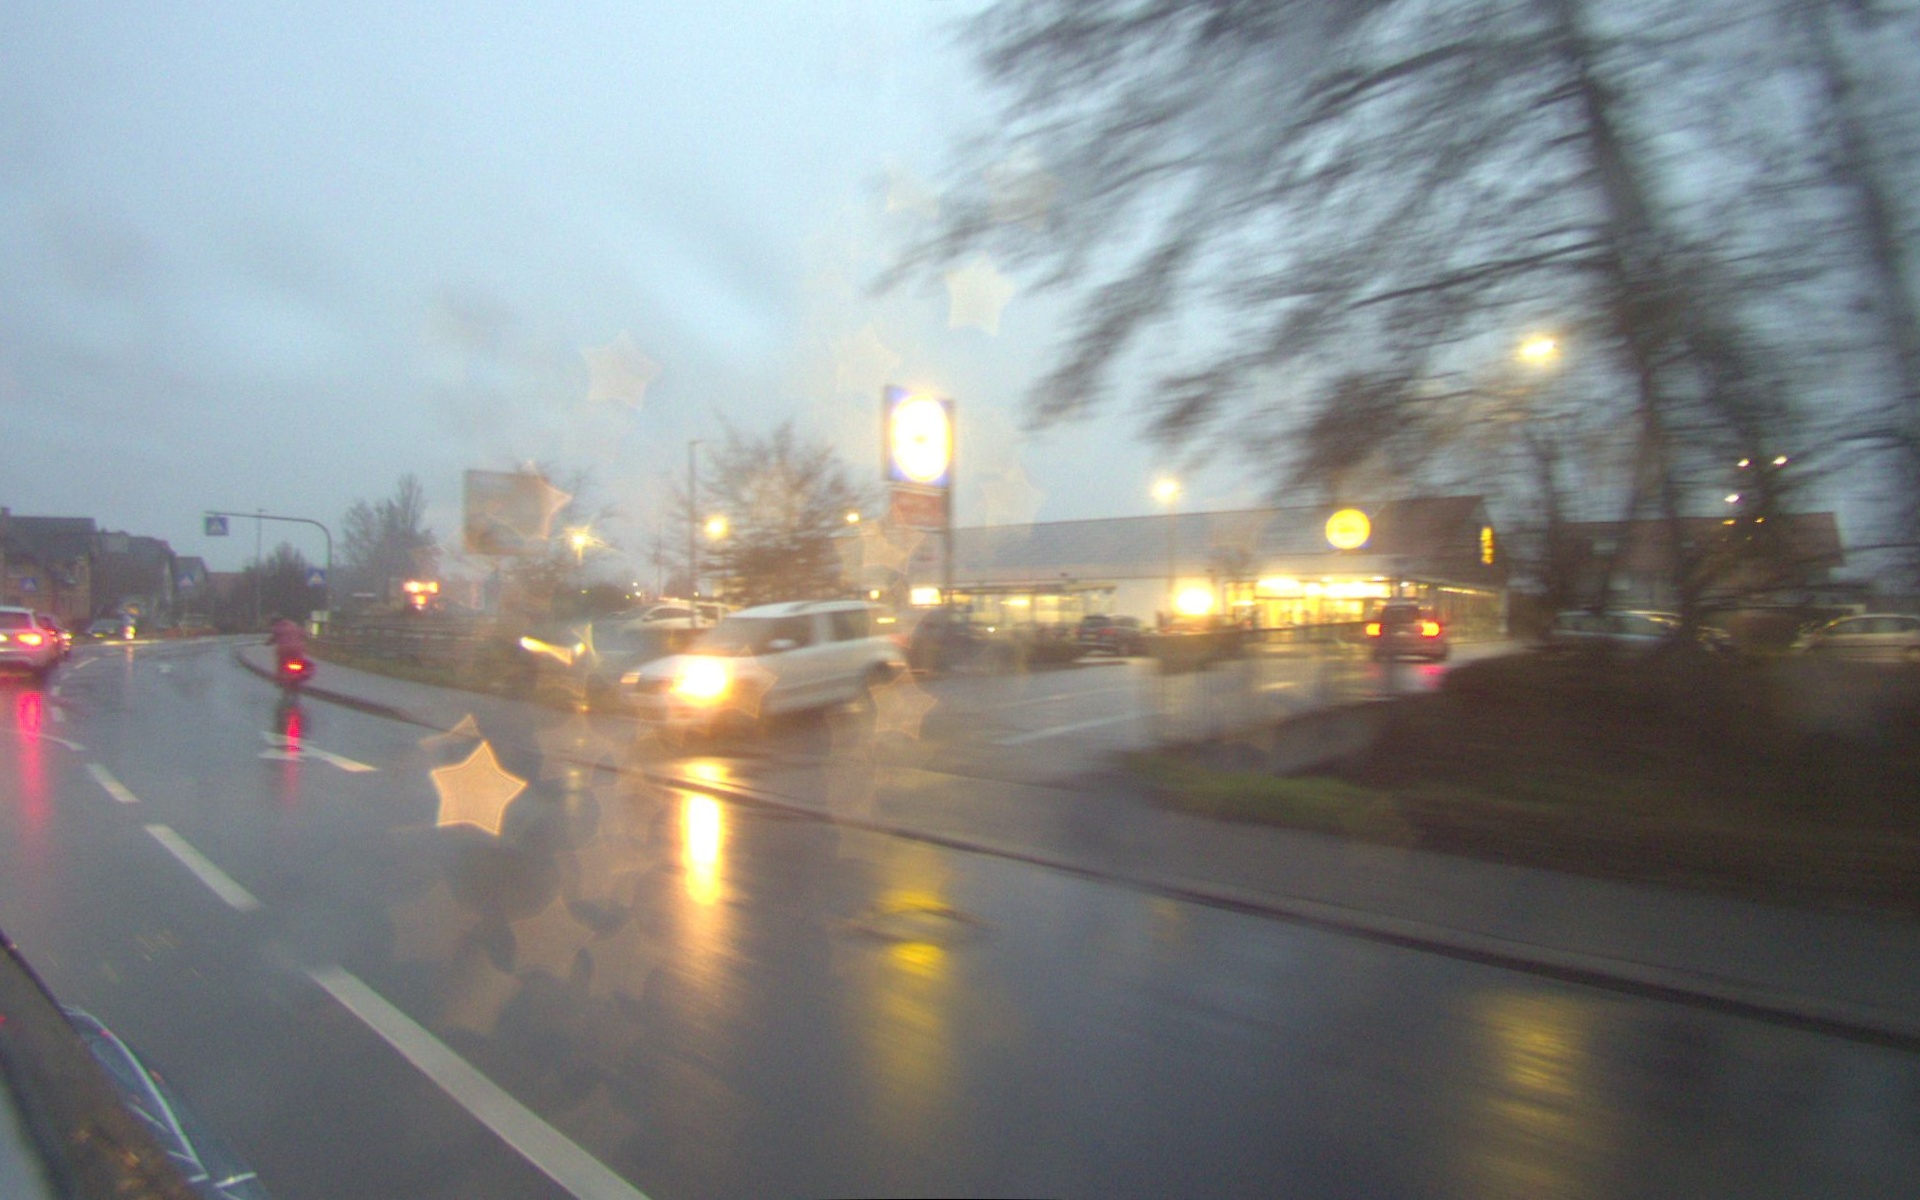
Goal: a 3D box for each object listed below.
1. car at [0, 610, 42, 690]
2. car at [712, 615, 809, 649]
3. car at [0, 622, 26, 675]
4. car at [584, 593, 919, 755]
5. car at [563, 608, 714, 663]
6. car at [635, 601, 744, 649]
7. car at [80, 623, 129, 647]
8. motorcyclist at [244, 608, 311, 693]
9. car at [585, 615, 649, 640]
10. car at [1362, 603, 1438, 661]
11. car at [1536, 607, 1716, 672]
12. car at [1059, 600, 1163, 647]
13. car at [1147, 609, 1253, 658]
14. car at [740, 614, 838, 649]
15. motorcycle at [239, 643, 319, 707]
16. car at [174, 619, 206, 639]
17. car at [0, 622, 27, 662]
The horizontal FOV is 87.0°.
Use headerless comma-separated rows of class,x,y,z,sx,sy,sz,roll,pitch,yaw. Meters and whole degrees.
car,-22.423,1.117,23.371,1.750,1.736,4.426,0,-1,-43
car,-9.547,1.577,48.741,2.050,1.575,4.392,-2,-3,35
car,-29.618,1.436,30.510,1.640,1.497,4.010,0,-1,-35
car,-2.676,0.844,13.806,1.898,1.712,4.185,-1,2,39
car,-10.900,1.174,34.666,2.028,1.725,4.730,-1,-1,34
car,-13.622,1.322,51.331,2.213,2.300,5.141,-2,-3,35
car,-55.125,2.258,65.261,1.747,1.441,3.808,-1,-1,-30
motorcyclist,-12.624,0.908,18.717,0.909,1.496,0.856,-1,0,45
car,-22.486,1.759,66.325,4.780,1.548,1.667,0,-1,39
car,13.901,0.991,31.849,1.958,1.684,4.382,-2,-2,26
car,18.343,1.100,28.089,3.987,1.629,1.898,-3,-1,32
car,5.554,0.912,36.806,2.050,1.575,4.392,-2,-3,35
car,8.243,1.175,34.492,2.050,1.575,4.392,-2,-3,35
car,-7.868,1.499,47.011,2.050,1.575,4.392,-2,-3,35
motorcycle,-12.605,1.354,18.710,0.855,1.031,2.111,0,0,-45
car,-71.562,2.671,94.123,1.916,1.819,4.185,0,-1,-31
car,-37.996,1.616,39.242,1.966,1.484,4.011,-1,-1,-32
